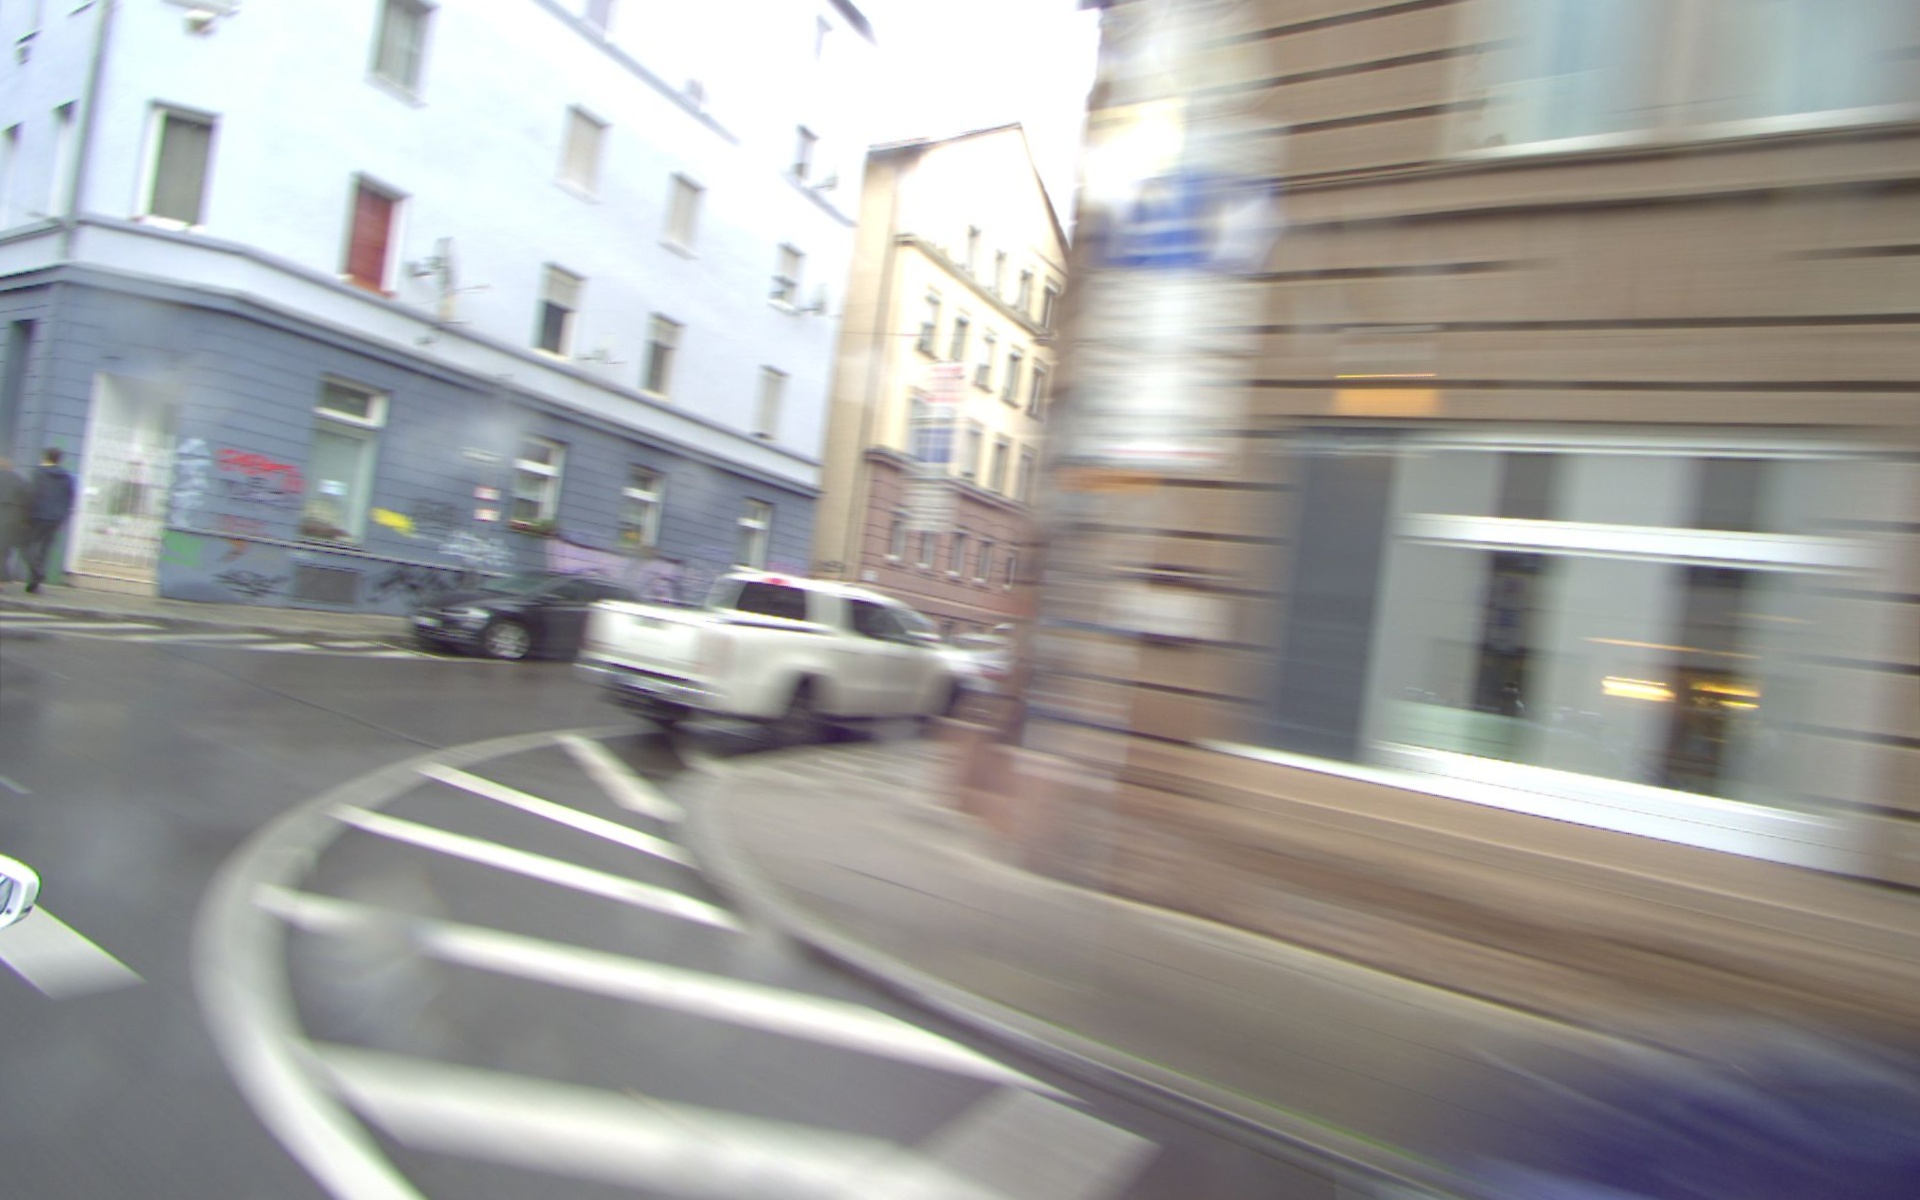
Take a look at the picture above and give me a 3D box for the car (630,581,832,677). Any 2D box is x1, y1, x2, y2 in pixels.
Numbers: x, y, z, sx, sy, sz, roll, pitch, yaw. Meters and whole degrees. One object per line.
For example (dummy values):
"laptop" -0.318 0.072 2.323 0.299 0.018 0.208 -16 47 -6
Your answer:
"car" -4.576 0.648 20.580 1.758 1.489 3.724 7 -1 33

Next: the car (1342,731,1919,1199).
"car" 2.676 1.259 0.927 4.188 1.533 1.724 8 -2 32

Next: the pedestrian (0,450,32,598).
"pedestrian" -12.707 -1.032 12.988 0.807 1.873 0.663 8 -1 30

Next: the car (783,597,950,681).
"car" -2.148 0.988 24.234 1.758 1.548 3.993 7 -1 33

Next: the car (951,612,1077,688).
"car" 1.704 1.565 30.484 1.758 1.845 4.217 7 -1 33

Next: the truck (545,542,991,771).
"truck" -1.816 0.695 11.474 2.048 1.839 5.070 7 -1 29

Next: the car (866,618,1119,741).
"car" 0.711 1.288 16.061 2.058 1.424 4.570 7 -1 29

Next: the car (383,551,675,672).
"car" -6.905 0.259 16.521 1.758 1.447 3.993 7 -1 33

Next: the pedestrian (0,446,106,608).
"pedestrian" -12.363 -0.985 13.651 0.807 2.037 0.737 8 -1 30
